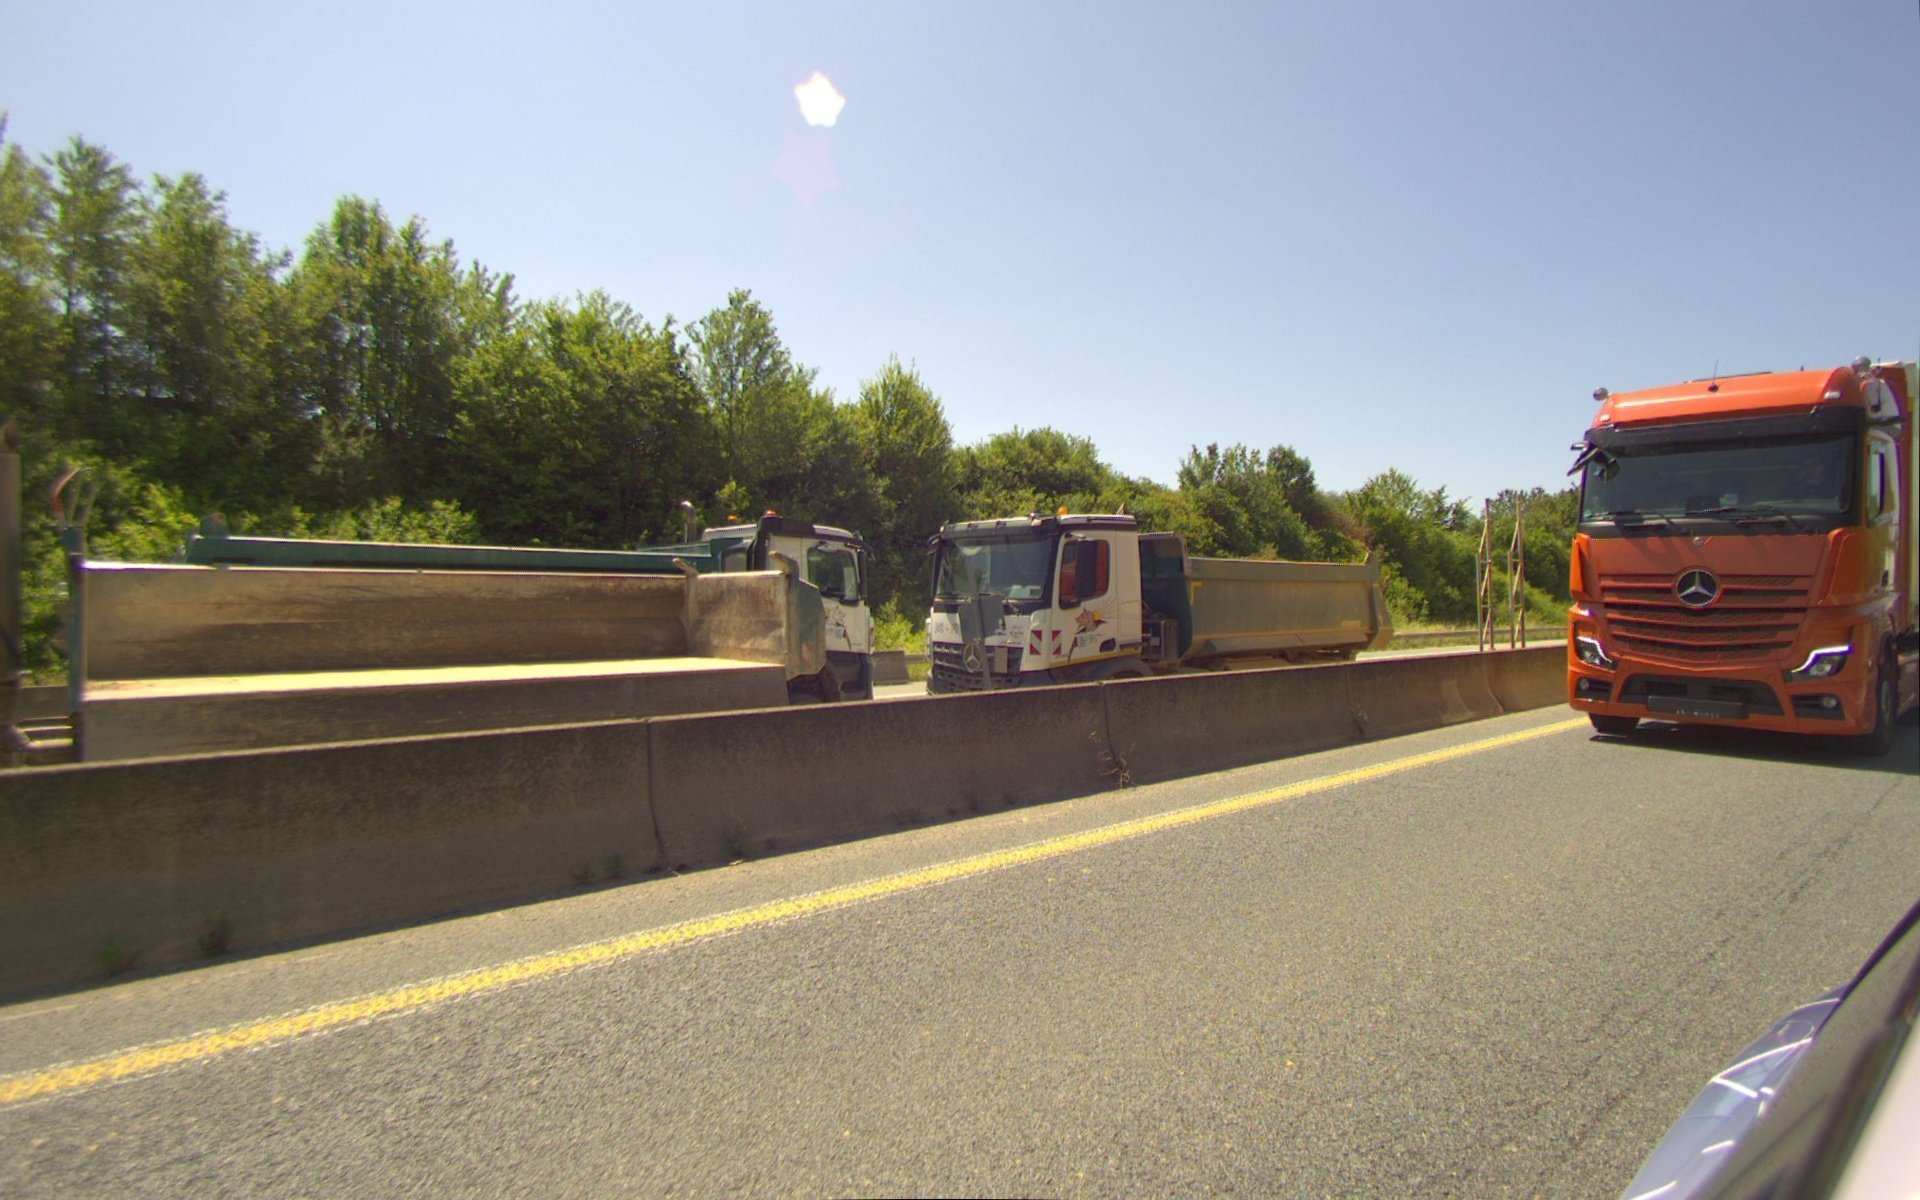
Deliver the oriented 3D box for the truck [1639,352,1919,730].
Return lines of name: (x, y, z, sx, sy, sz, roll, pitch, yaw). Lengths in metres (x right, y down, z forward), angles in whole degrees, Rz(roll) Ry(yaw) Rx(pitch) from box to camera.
truck: (14.435, -0.699, 16.040, 12.987, 4.061, 2.687, -1, 0, -41)

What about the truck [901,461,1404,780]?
truck: (3.396, 0.216, 15.238, 8.939, 3.556, 2.537, 0, 0, -42)

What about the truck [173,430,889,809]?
truck: (-5.005, 0.171, 13.249, 8.235, 3.556, 2.691, 0, 0, -42)

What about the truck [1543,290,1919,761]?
truck: (9.619, -0.676, 11.893, 6.606, 4.061, 2.687, -1, 0, -40)

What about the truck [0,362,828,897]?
truck: (-5.564, 0.189, 9.145, 8.789, 3.556, 2.537, 0, 0, -42)
